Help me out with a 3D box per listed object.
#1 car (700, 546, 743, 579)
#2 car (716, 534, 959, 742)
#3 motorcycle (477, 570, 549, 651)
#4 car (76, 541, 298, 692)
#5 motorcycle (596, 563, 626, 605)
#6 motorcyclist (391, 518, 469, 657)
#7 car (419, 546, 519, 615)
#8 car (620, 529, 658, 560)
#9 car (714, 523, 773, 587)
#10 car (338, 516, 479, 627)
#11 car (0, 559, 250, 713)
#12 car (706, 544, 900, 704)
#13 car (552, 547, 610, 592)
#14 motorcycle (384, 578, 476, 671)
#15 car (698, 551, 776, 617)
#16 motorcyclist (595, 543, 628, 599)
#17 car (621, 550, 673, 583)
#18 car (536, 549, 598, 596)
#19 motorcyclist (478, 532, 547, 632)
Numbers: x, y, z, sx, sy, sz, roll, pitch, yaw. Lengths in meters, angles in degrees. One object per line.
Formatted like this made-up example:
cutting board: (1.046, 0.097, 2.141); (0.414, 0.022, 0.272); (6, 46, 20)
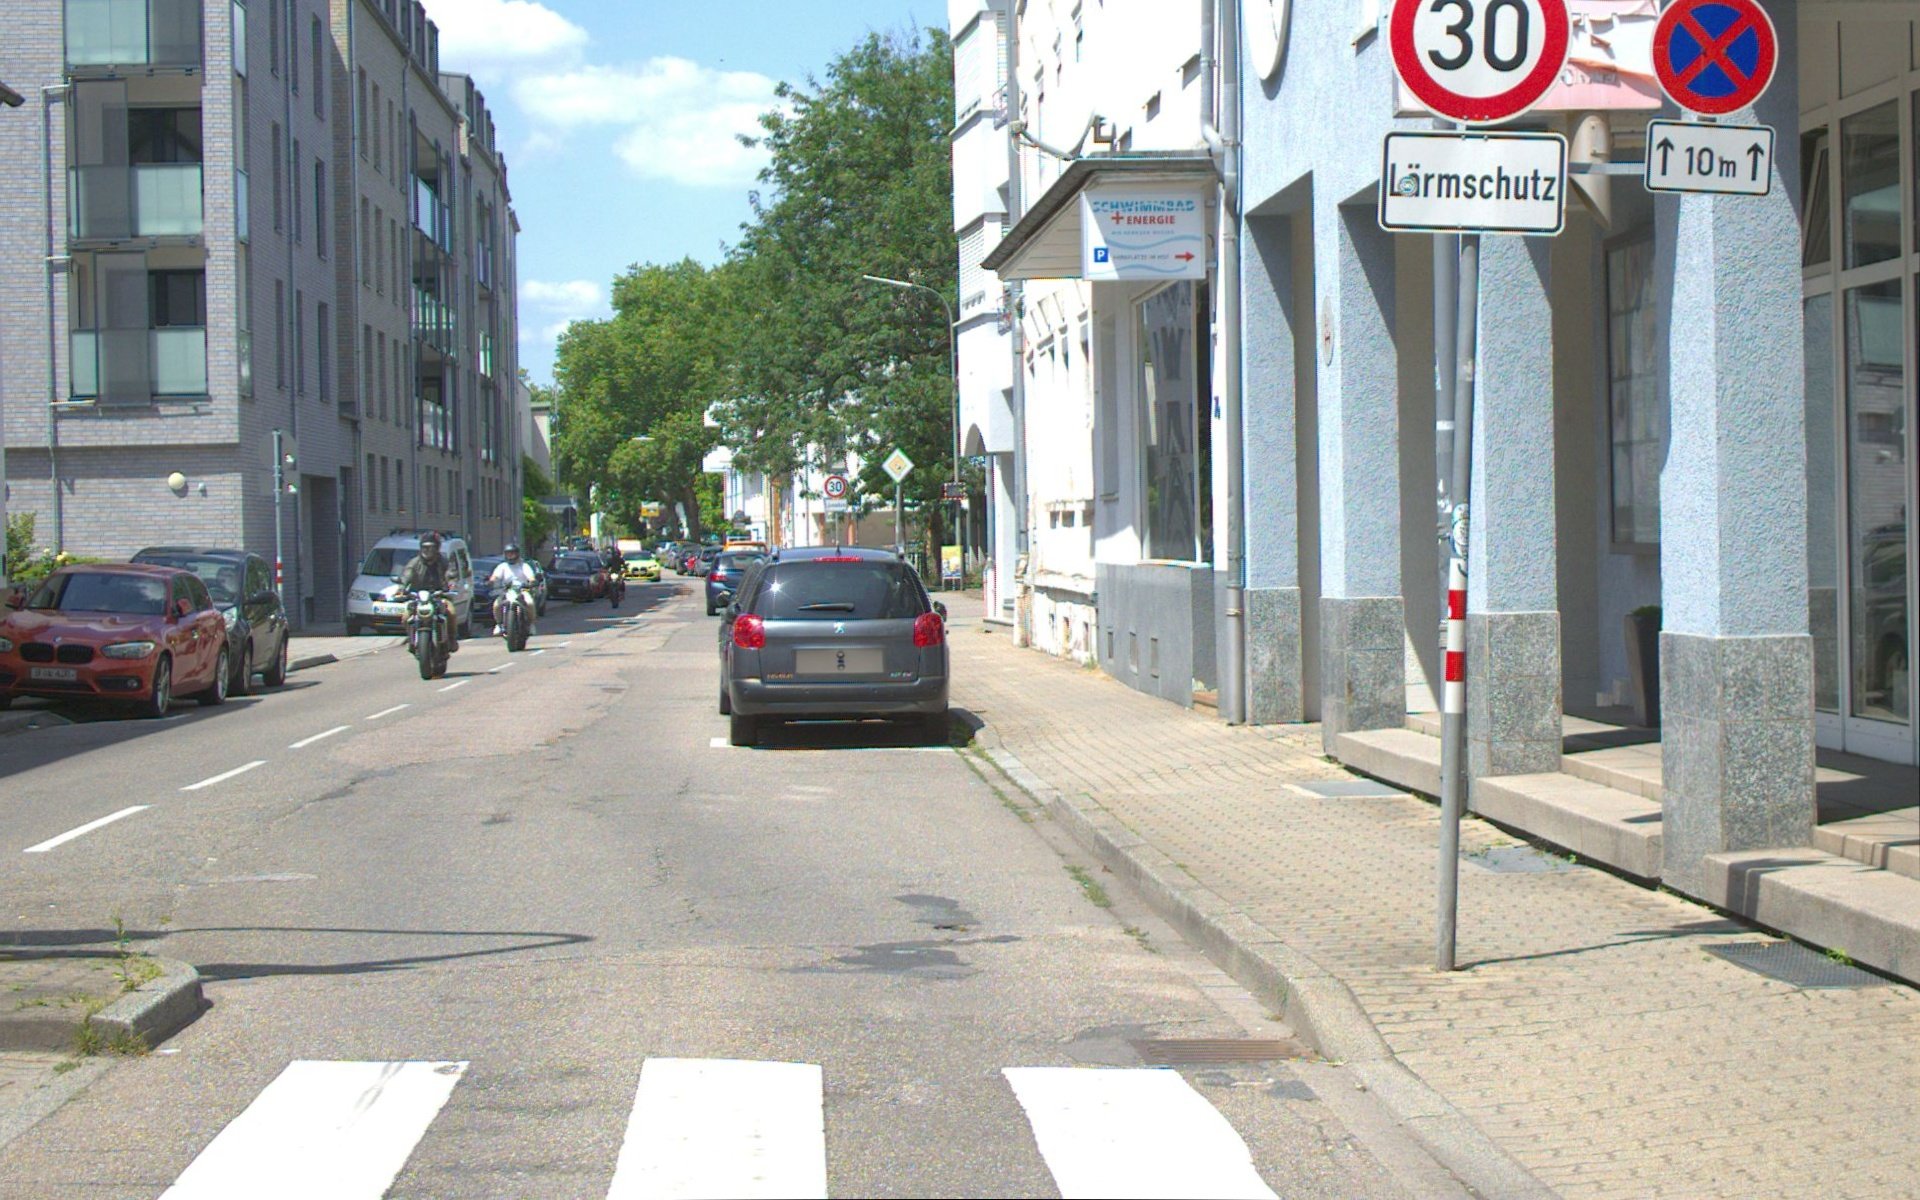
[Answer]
car: (-12.172, -1.908, 175.287); (1.993, 1.612, 4.001); (-1, 1, -7)
car: (-1.044, 0.248, 27.380); (1.709, 1.503, 4.001); (-1, 1, -5)
motorcycle: (-6.730, 0.144, 51.820); (0.896, 1.172, 2.208); (-1, 1, -3)
car: (-8.776, 0.147, 39.325); (1.794, 1.641, 3.945); (0, 1, -2)
motorcycle: (-9.661, -0.441, 95.141); (0.687, 1.118, 2.028); (-1, 1, -2)
motorcyclist: (-6.371, -0.164, 41.352); (0.713, 1.629, 1.069); (-2, 1, 1)
car: (-10.639, -0.434, 74.692); (1.723, 1.451, 4.005); (0, 1, -2)
car: (-21.414, -3.701, 229.202); (2.156, 2.007, 4.001); (-1, 1, -10)
car: (-7.091, -1.495, 112.997); (1.839, 2.007, 4.001); (-1, 1, -3)
car: (-9.912, -0.538, 62.041); (1.757, 1.885, 4.336); (1, 1, 1)
car: (-8.462, 0.313, 34.479); (1.834, 1.412, 4.290); (-1, 1, -1)
car: (-1.550, 0.184, 33.408); (1.729, 1.415, 4.545); (-1, 1, -3)
car: (-12.658, -1.018, 114.945); (1.732, 1.437, 4.001); (-1, 1, -4)
motorcycle: (-6.371, 0.281, 41.455); (0.713, 1.025, 2.239); (-2, 1, 1)
car: (-5.125, -0.387, 79.344); (1.715, 1.397, 4.001); (-1, 1, -3)
motorcyclist: (-9.641, -0.800, 95.065); (0.822, 1.504, 1.057); (-1, 1, -2)
car: (-13.839, -1.503, 152.186); (1.993, 1.376, 4.393); (1, 1, -1)
car: (-12.552, -0.903, 109.933); (1.732, 1.437, 4.001); (-1, 1, -4)
motorcyclist: (-6.746, -0.275, 51.848); (0.916, 1.475, 1.203); (-1, 1, -3)
